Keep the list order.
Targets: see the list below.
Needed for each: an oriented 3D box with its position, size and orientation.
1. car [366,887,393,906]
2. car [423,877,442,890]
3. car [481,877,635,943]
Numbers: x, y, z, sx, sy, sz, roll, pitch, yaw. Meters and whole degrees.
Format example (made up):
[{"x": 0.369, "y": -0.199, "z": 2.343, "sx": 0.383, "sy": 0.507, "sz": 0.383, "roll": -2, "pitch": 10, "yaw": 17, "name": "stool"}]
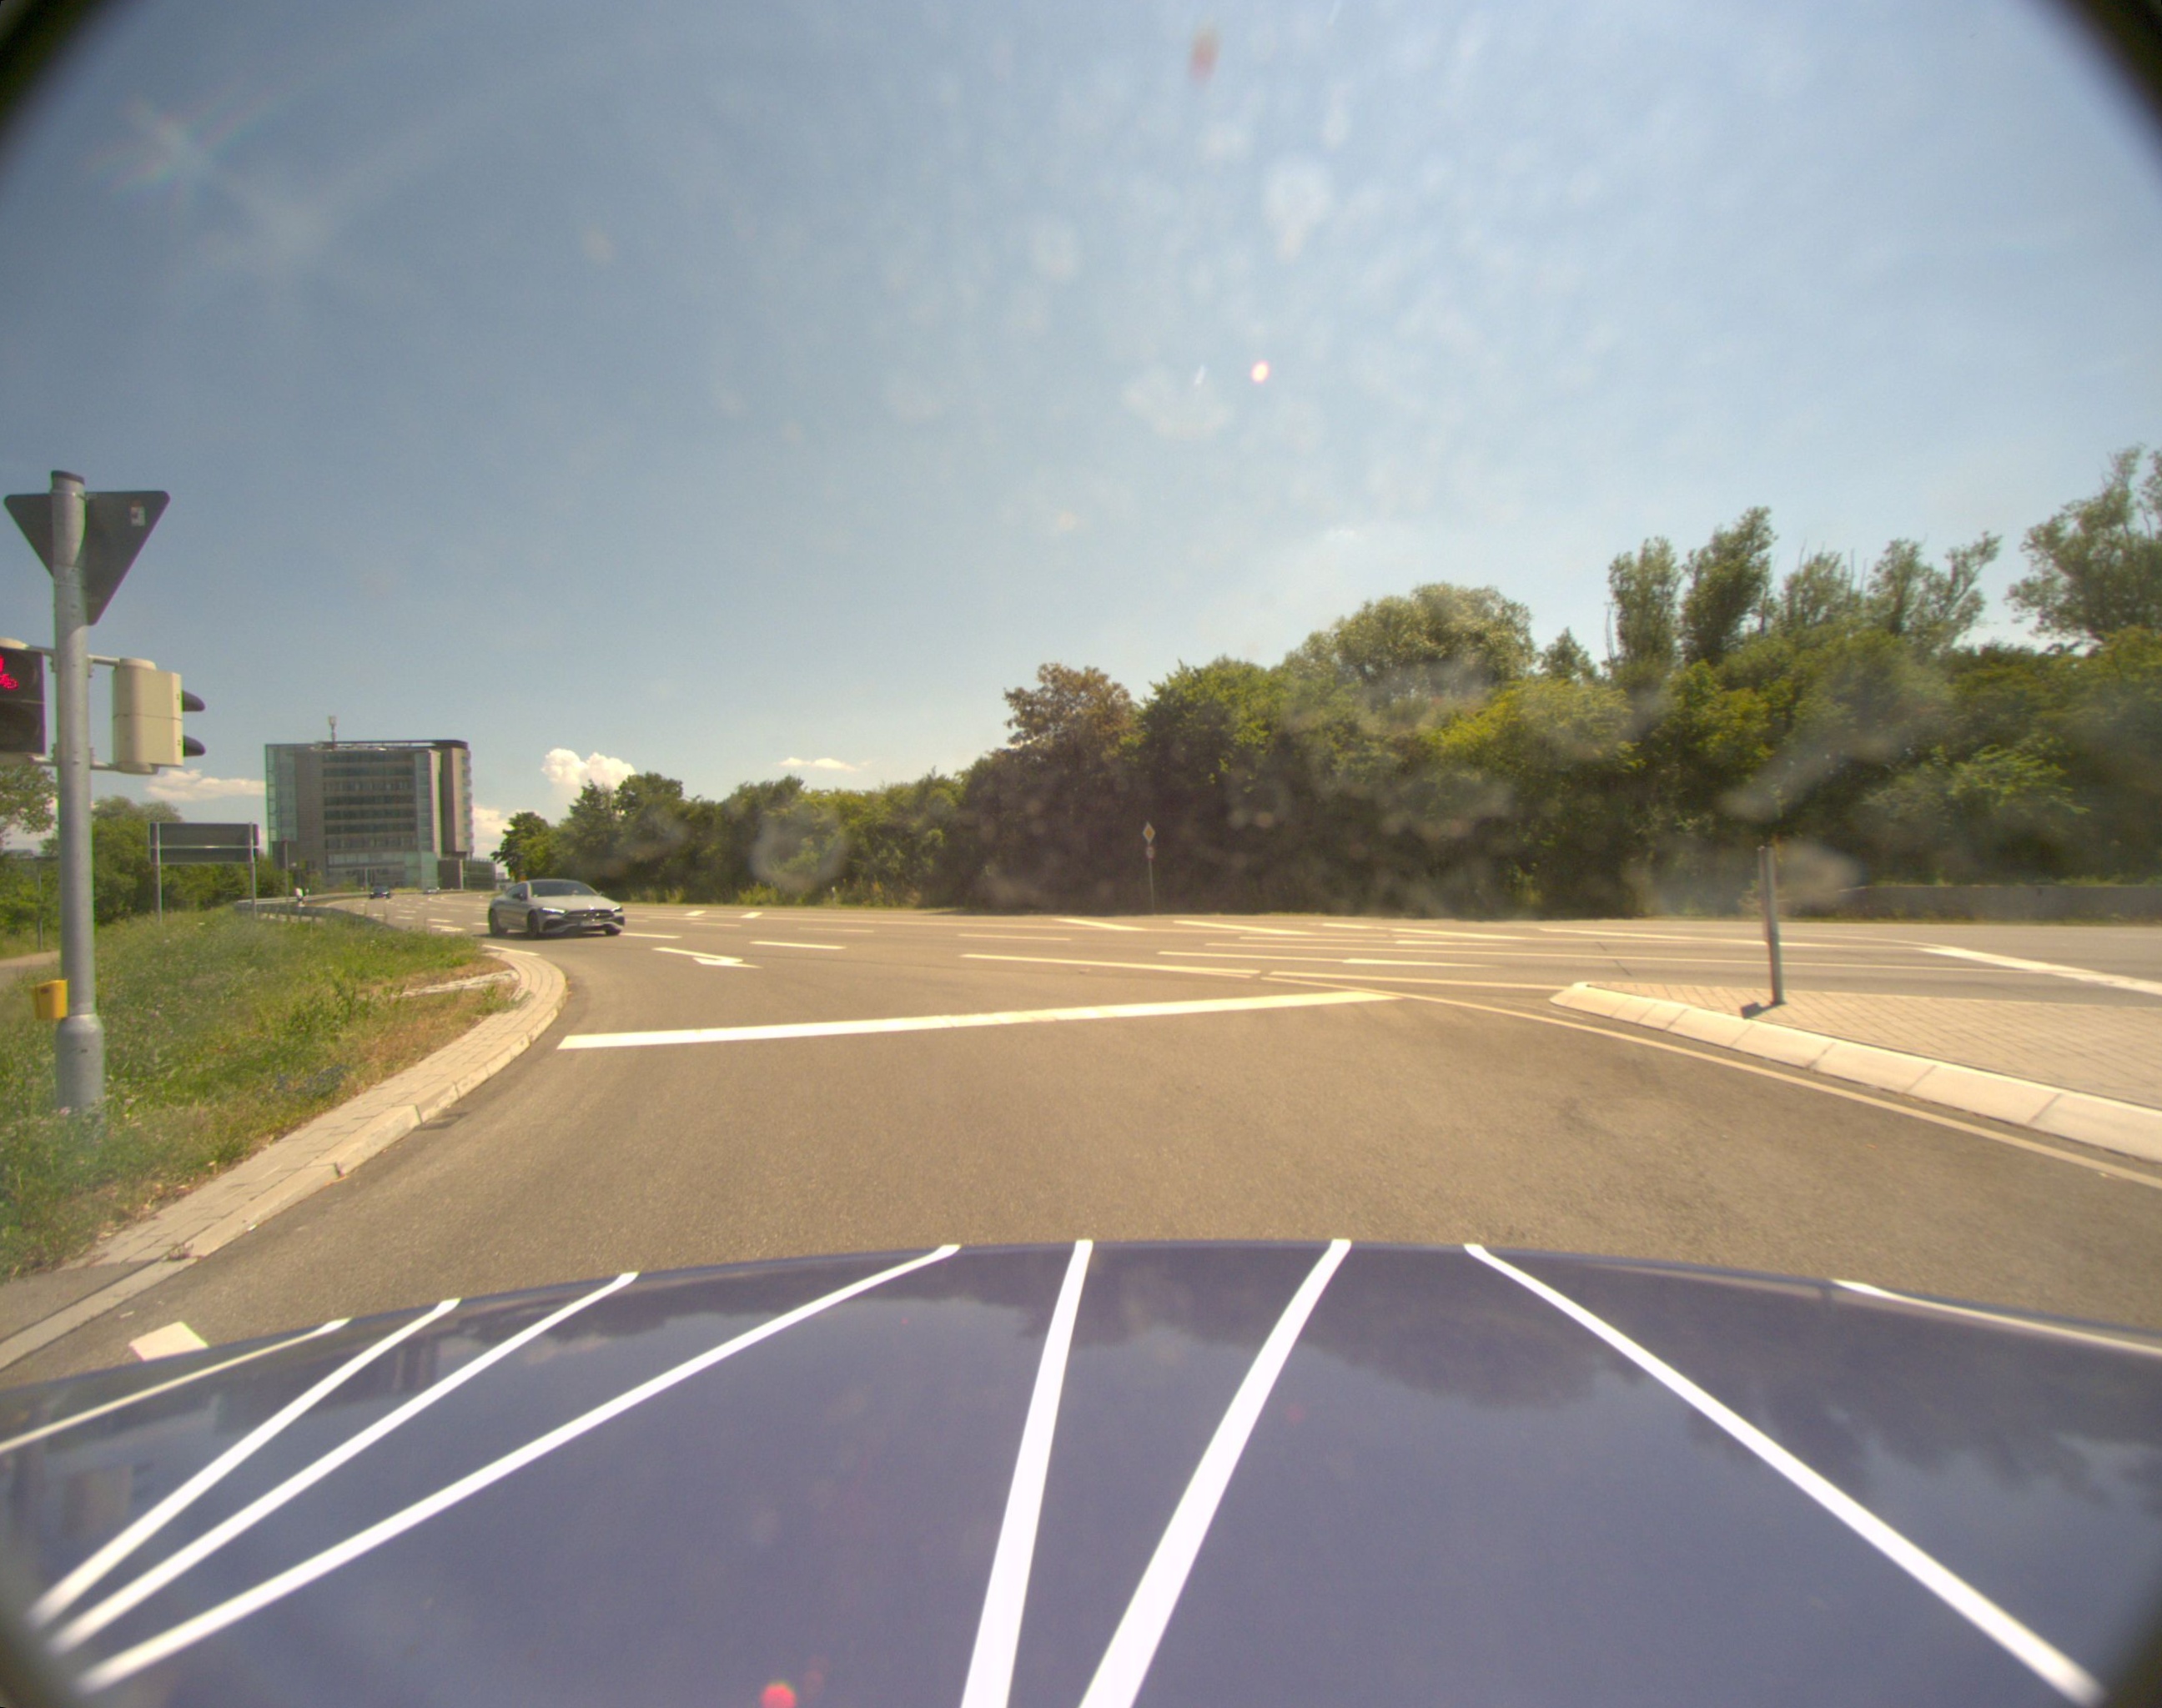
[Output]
[{"x": -81.384, "y": 4.884, "z": 88.164, "sx": 3.988, "sy": 2.001, "sz": 2.004, "roll": -1, "pitch": -1, "yaw": 43, "name": "car"}, {"x": -108.014, "y": 4.932, "z": 126.635, "sx": 2.004, "sy": 2.001, "sz": 3.990, "roll": 0, "pitch": -1, "yaw": -34, "name": "car"}, {"x": -13.250, "y": 1.435, "z": 19.155, "sx": 4.471, "sy": 1.432, "sz": 1.928, "roll": -6, "pitch": -5, "yaw": 37, "name": "car"}]
